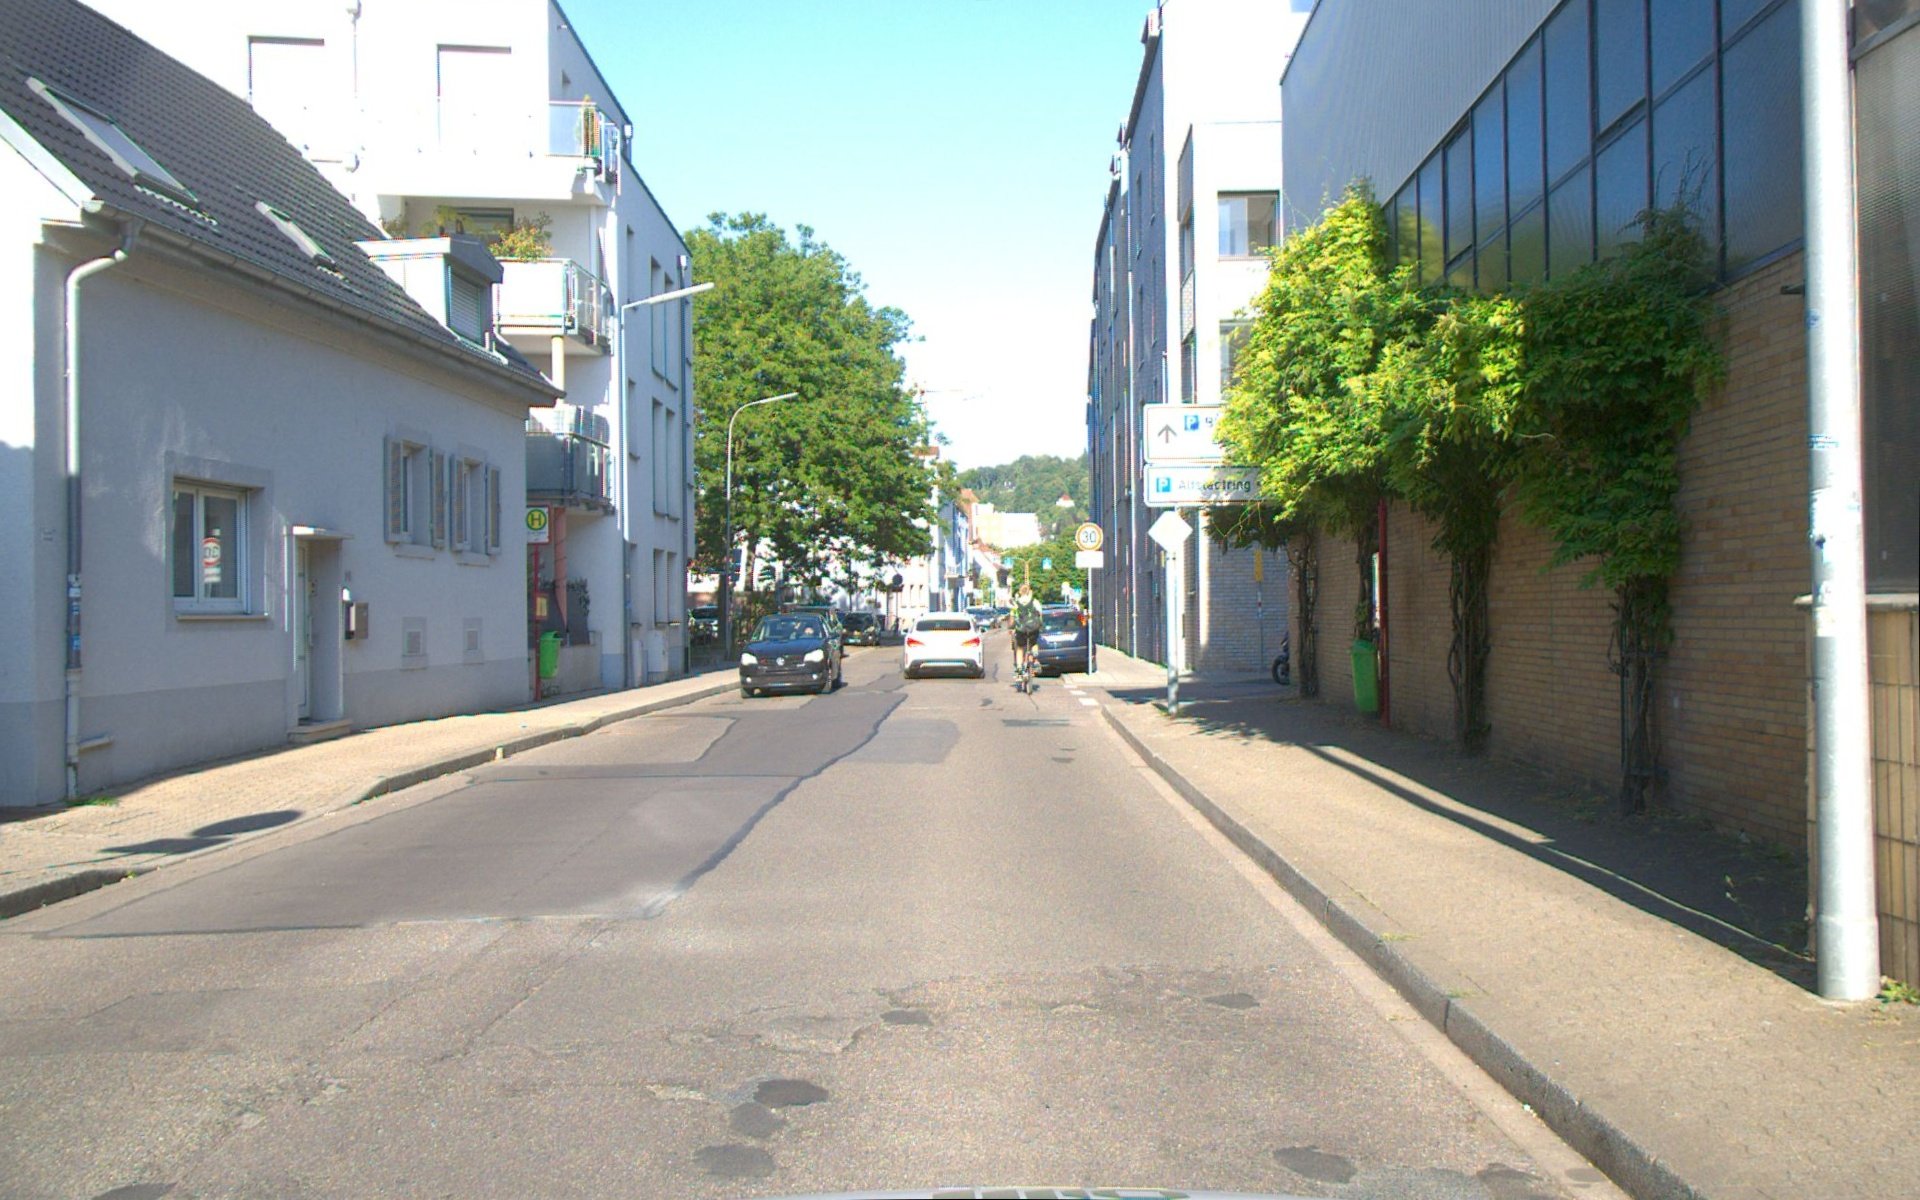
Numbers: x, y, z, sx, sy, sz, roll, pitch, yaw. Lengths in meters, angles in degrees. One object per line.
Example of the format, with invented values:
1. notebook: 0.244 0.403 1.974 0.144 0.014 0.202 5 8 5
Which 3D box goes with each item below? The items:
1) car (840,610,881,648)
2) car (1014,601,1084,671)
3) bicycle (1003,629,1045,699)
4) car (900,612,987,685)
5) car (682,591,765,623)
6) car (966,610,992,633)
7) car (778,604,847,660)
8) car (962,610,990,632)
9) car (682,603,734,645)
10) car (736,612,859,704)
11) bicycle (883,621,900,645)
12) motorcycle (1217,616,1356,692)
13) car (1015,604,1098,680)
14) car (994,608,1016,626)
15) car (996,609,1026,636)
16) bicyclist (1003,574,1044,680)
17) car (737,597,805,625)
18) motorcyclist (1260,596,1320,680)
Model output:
1. car: -4.482 1.287 74.674 1.669 1.603 3.913 0 0 -1
2. car: 2.296 0.907 43.617 1.630 1.732 3.914 0 0 0
3. bicycle: 1.106 1.099 29.014 0.684 1.150 2.403 0 -1 1
4. car: -0.392 1.040 36.655 1.805 1.517 4.143 0 -1 -1
5. car: -11.859 0.355 83.136 3.818 1.603 1.711 0 0 5
6. car: 1.400 1.536 120.772 1.629 1.603 3.916 0 0 4
7. car: -4.965 1.048 56.199 1.815 1.823 4.608 0 0 1
8. car: 1.281 1.634 130.887 1.904 1.614 4.623 -3 0 3
9. car: -11.061 1.025 72.909 1.754 1.719 3.963 2 0 -2
10. car: -2.949 1.022 30.776 1.804 1.517 4.144 -3 -1 0
11. bicycle: -3.704 1.802 89.835 0.818 1.239 2.841 0 0 -1
12. motorcycle: 5.919 0.986 30.057 2.290 1.303 0.894 -2 -2 29
13. car: 2.233 0.962 39.086 1.596 1.614 4.068 -3 0 -1
14. car: 4.552 1.711 167.389 1.904 1.614 4.624 -3 0 5
15. car: 3.633 1.592 117.689 1.816 1.823 4.605 0 0 -2
16. bicyclist: 1.110 0.468 28.903 0.684 1.821 1.041 0 -1 1
17. car: -10.886 0.649 95.215 3.827 1.603 1.707 0 0 -8
18. motorcyclist: 5.995 0.681 30.032 0.860 1.498 0.894 0 -1 28
